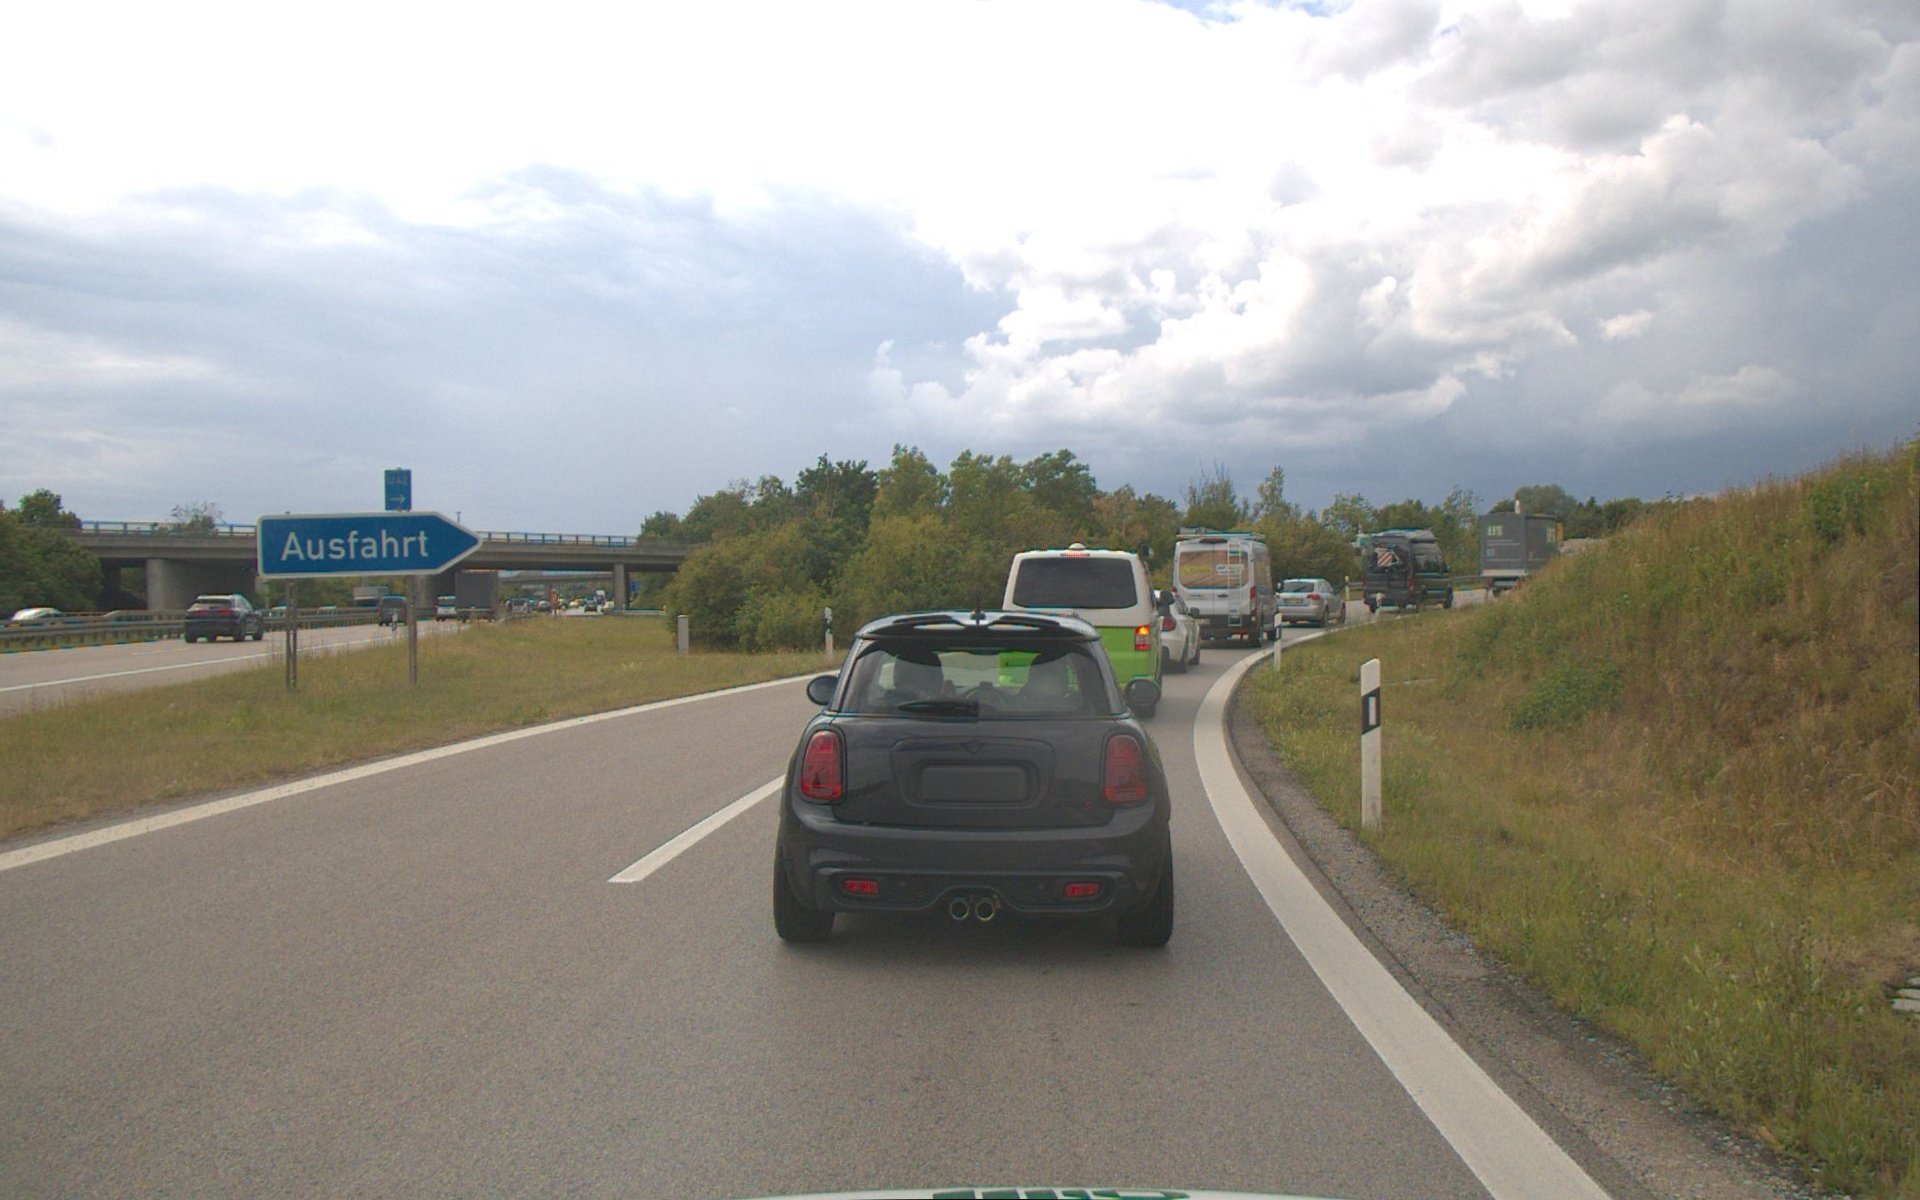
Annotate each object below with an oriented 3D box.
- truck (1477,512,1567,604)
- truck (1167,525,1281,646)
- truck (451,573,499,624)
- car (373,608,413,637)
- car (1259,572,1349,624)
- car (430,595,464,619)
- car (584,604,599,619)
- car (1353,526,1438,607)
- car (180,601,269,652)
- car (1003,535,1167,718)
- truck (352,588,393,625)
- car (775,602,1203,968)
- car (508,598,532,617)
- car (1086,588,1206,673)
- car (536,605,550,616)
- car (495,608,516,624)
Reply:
[{"bbox_3d":[25.837,-1.850,75.911,2.192,3.975,5.991,0,-1,37],"label":"truck"},{"bbox_3d":[6.423,-0.352,39.823,2.132,2.705,5.112,0,1,16],"label":"truck"},{"bbox_3d":[-33.744,-0.074,115.311,2.423,3.430,7.901,-1,0,-11],"label":"truck"},{"bbox_3d":[-35.896,1.391,104.839,1.812,1.789,4.324,-1,0,-11],"label":"car"},{"bbox_3d":[10.588,-0.067,50.692,1.829,1.536,3.997,0,0,25],"label":"car"},{"bbox_3d":[-39.274,0.527,126.669,1.958,1.842,3.990,-1,0,-11],"label":"car"},{"bbox_3d":[-50.636,1.589,227.489,1.959,2.049,3.987,1,-1,-13],"label":"car"},{"bbox_3d":[15.974,-1.201,60.532,2.065,2.845,3.993,1,0,29],"label":"car"},{"bbox_3d":[-27.356,0.937,61.649,1.958,1.774,4.816,-1,0,-11],"label":"car"},{"bbox_3d":[1.654,0.291,20.588,1.746,2.049,4.003,0,0,8],"label":"car"},{"bbox_3d":[-61.020,0.650,171.889,2.709,3.710,8.175,-1,0,-11],"label":"truck"},{"bbox_3d":[0.110,0.738,8.420,1.692,1.438,3.725,0,0,0],"label":"car"},{"bbox_3d":[-42.064,0.711,158.093,1.842,1.782,4.476,-1,0,-10],"label":"car"},{"bbox_3d":[3.411,0.512,29.752,1.724,1.423,3.728,-1,0,13],"label":"car"},{"bbox_3d":[-59.634,1.515,236.517,1.691,1.449,4.784,-1,0,-11],"label":"car"},{"bbox_3d":[-52.524,1.846,191.194,1.958,1.817,5.398,-1,0,-11],"label":"car"}]
